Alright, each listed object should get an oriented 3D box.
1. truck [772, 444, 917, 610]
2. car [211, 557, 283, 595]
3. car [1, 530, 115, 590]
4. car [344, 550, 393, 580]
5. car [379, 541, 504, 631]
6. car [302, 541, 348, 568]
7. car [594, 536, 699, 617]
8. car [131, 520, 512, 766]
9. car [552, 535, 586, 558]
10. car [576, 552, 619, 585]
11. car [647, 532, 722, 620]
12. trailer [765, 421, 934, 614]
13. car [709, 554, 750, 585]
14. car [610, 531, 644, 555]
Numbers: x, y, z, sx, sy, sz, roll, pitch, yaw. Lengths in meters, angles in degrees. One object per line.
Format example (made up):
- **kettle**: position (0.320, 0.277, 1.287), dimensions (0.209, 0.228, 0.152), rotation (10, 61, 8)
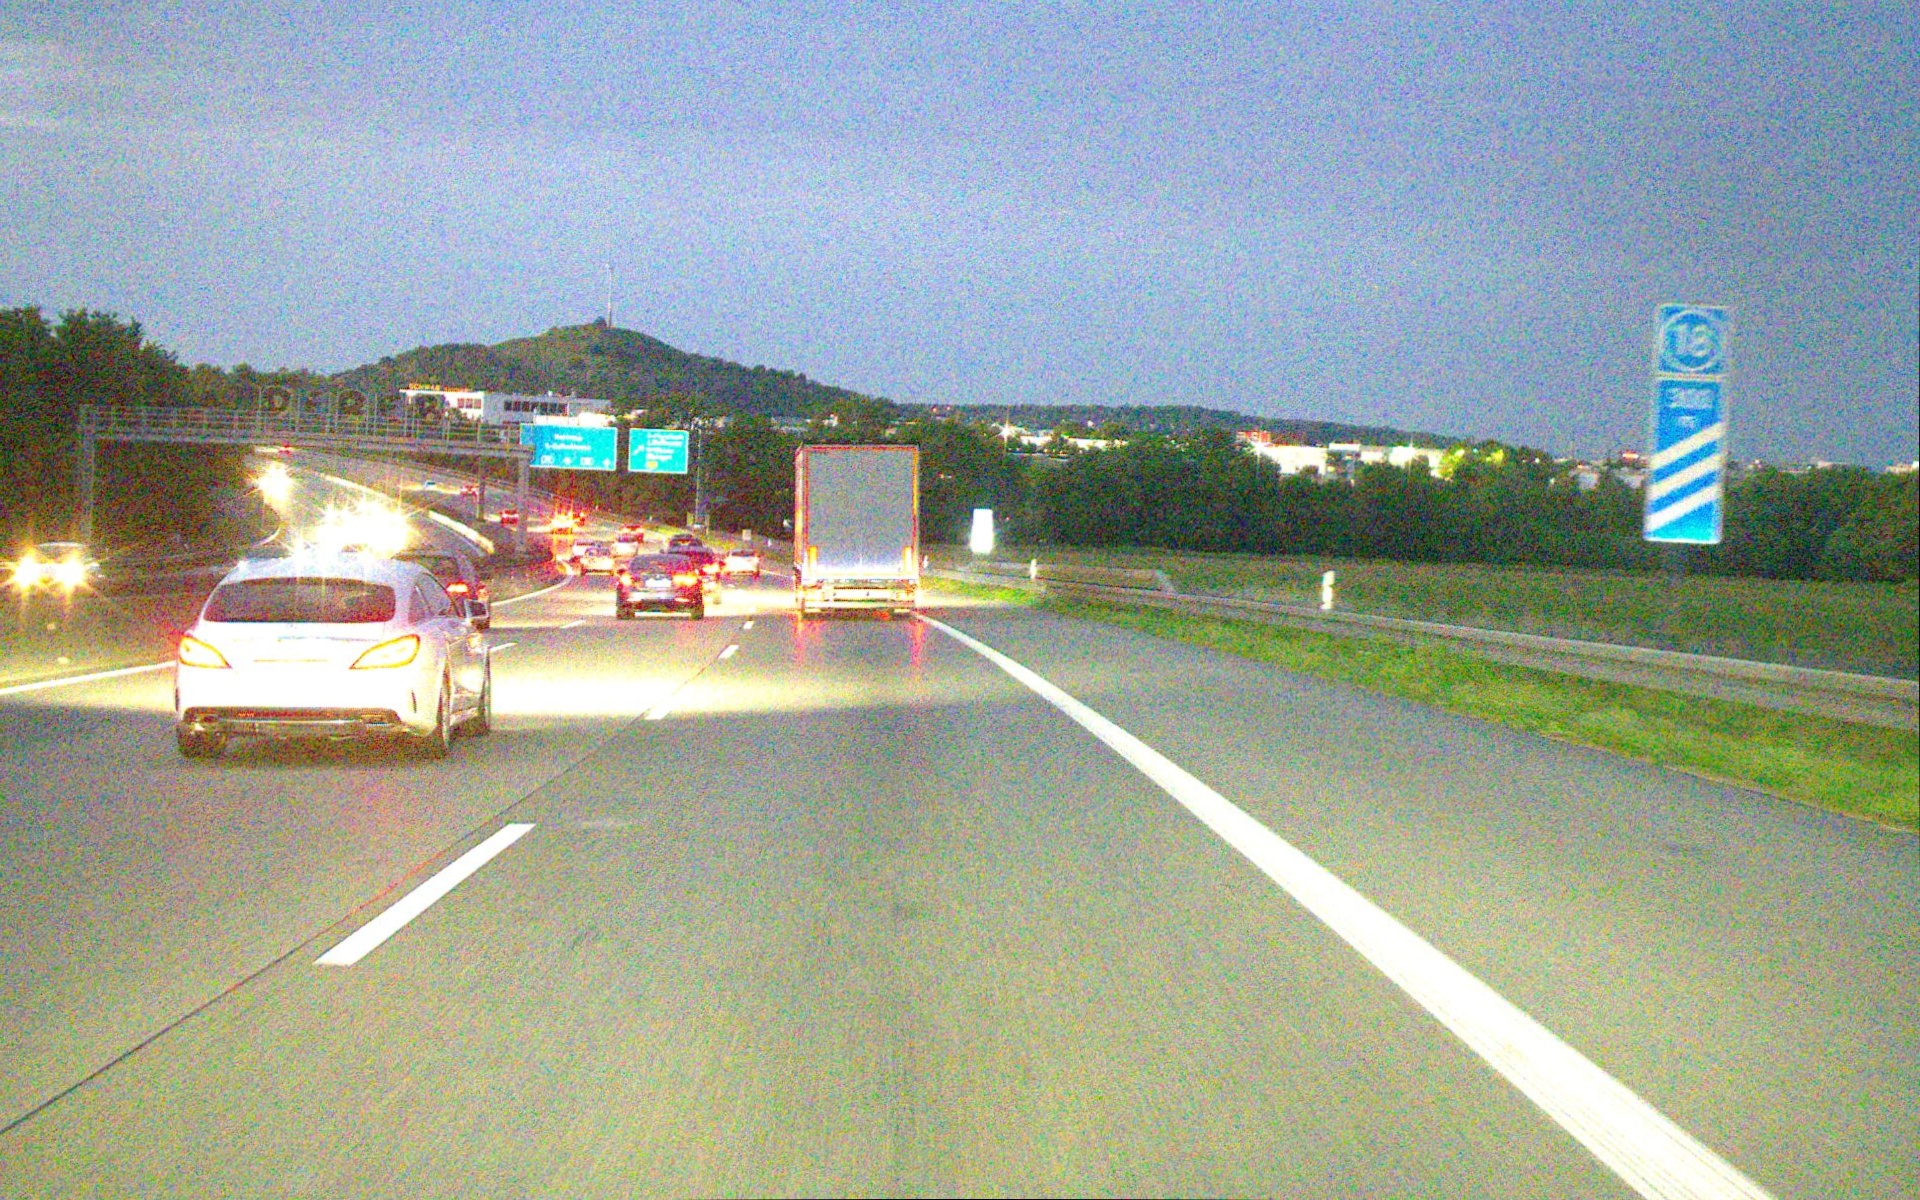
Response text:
- **truck**: position (-3.006, -1.846, 88.859), dimensions (3.550, 4.077, 6.152), rotation (1, 0, -2)
- **car**: position (-26.532, -0.900, 128.060), dimensions (1.834, 1.331, 4.910), rotation (1, 1, -3)
- **car**: position (-22.921, -1.006, 87.516), dimensions (1.993, 1.448, 3.835), rotation (1, 1, -2)
- **car**: position (-30.622, -1.793, 178.126), dimensions (1.993, 1.500, 4.507), rotation (1, 1, -3)
- **car**: position (-9.530, -0.273, 63.467), dimensions (1.761, 1.569, 4.577), rotation (1, 1, -2)
- **car**: position (-36.713, -2.635, 198.870), dimensions (1.993, 1.528, 5.007), rotation (1, 1, -4)
- **car**: position (-6.835, -0.522, 75.325), dimensions (2.065, 1.680, 4.577), rotation (1, 1, -3)
- **car**: position (-4.606, 0.265, 25.509), dimensions (1.906, 1.609, 4.804), rotation (1, 1, 0)
- **car**: position (-25.598, -3.477, 225.046), dimensions (1.993, 1.463, 4.001), rotation (1, 1, -9)
- **car**: position (-18.397, -1.602, 174.322), dimensions (1.993, 1.616, 4.001), rotation (1, 1, -8)
- **car**: position (-7.677, -0.683, 95.900), dimensions (1.993, 2.372, 4.001), rotation (1, 0, -4)
- **trailer**: position (-2.695, -1.807, 81.406), dimensions (3.550, 4.102, 15.064), rotation (1, 0, -2)
- **car**: position (-11.795, -1.587, 176.081), dimensions (1.993, 1.529, 4.001), rotation (1, 1, -5)
- **car**: position (-23.712, -4.037, 244.875), dimensions (1.993, 1.616, 4.001), rotation (1, 1, -11)
